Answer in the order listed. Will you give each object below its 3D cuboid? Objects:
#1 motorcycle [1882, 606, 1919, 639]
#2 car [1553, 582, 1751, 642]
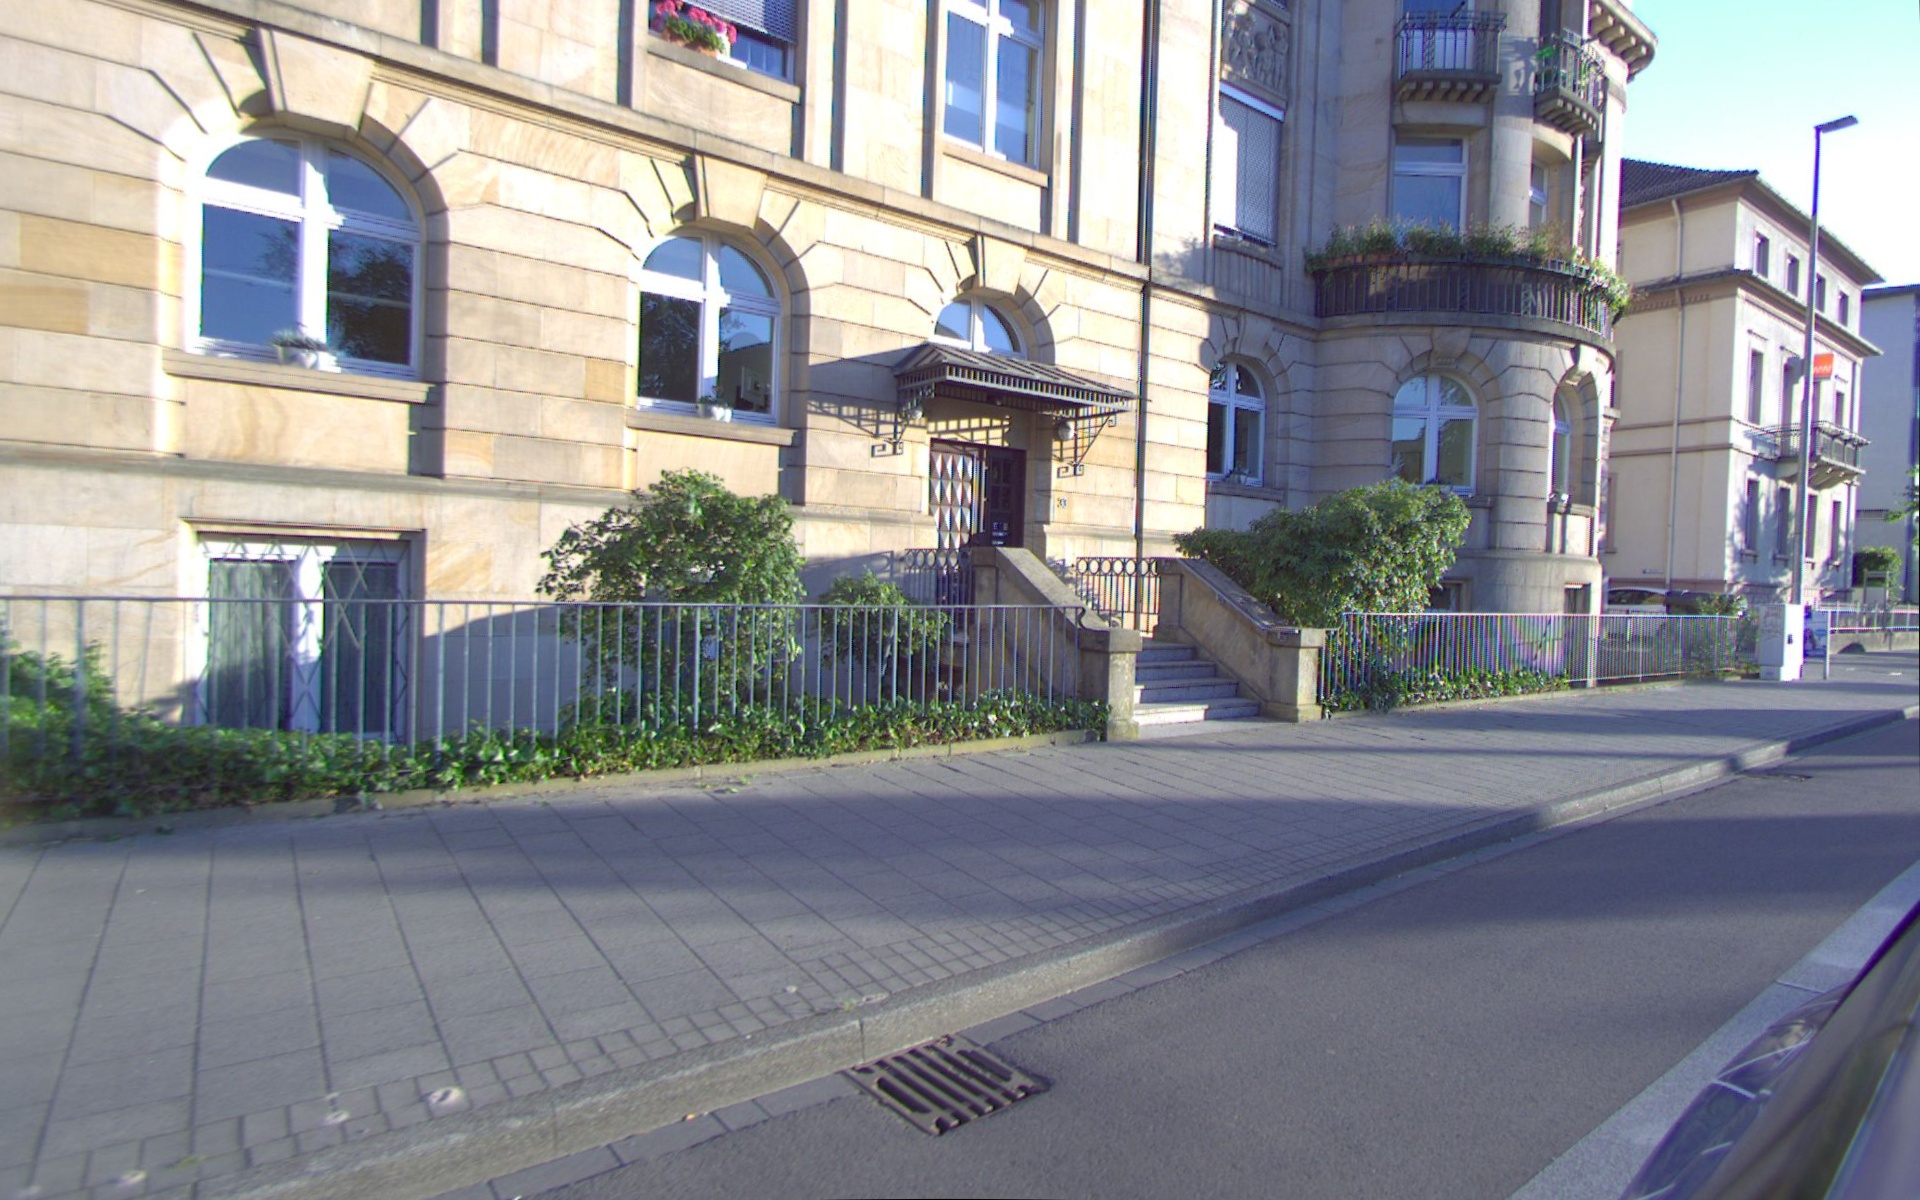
[{"bbox_3d":[33.538,0.800,35.367,0.564,1.111,1.852,1,1,-31],"label":"motorcycle"},{"bbox_3d":[18.989,0.286,27.927,1.902,1.500,4.100,1,1,-36],"label":"car"}]
